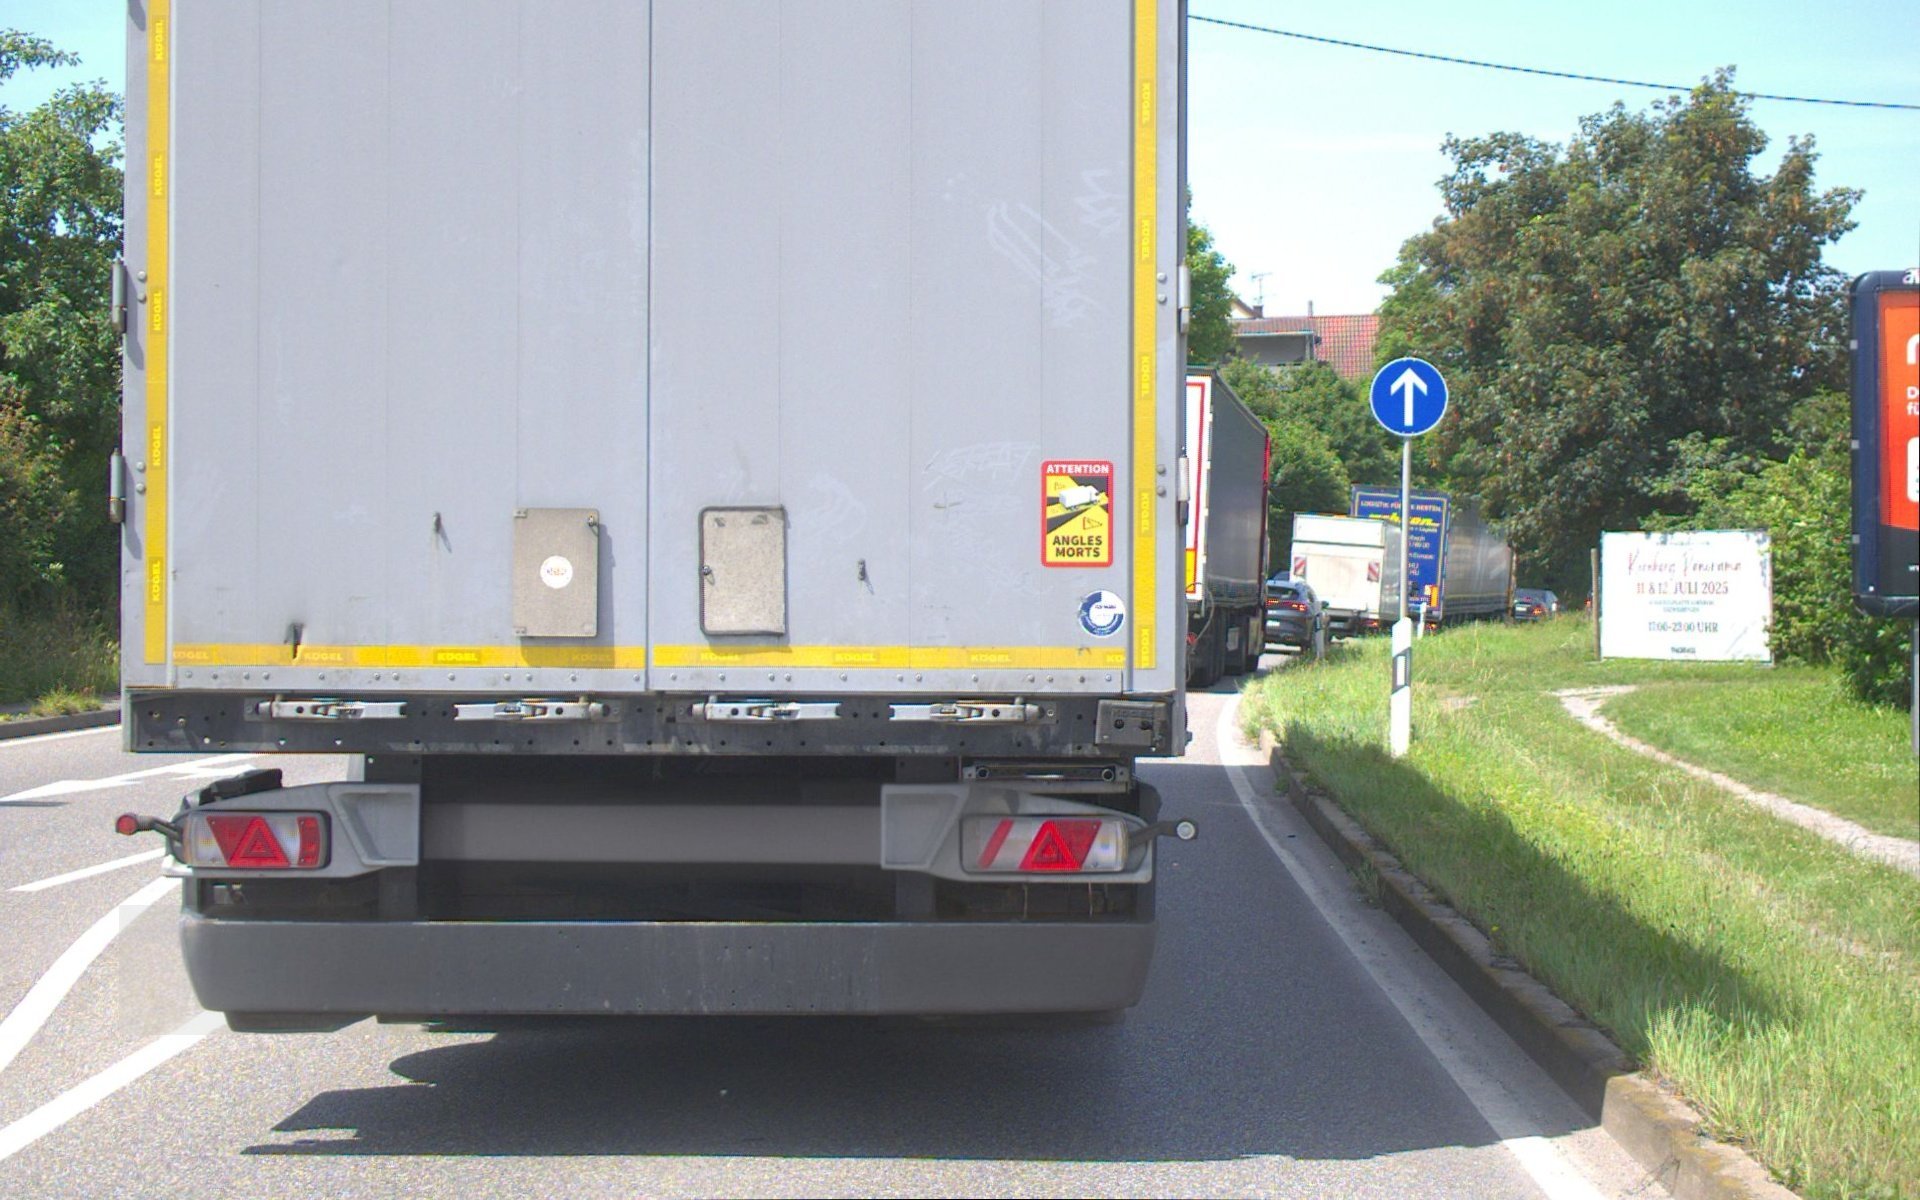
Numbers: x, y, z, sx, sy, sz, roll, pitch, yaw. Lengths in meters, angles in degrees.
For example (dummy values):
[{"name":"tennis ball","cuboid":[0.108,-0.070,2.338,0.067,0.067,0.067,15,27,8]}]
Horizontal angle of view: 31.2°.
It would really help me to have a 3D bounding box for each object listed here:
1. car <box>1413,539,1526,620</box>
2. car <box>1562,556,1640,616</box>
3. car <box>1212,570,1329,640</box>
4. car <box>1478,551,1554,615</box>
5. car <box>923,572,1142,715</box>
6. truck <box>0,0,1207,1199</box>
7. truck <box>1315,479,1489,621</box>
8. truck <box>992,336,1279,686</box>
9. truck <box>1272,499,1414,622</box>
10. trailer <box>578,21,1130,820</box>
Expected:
[{"name":"car","cuboid":[15.111,-0.643,101.724,2.533,2.269,6.376,1,1,15]},{"name":"car","cuboid":[22.248,-0.471,119.243,1.995,2.007,3.996,1,0,20]},{"name":"car","cuboid":[6.511,0.099,71.834,1.994,1.371,3.998,1,0,11]},{"name":"car","cuboid":[18.043,-0.551,111.491,1.995,2.007,3.997,1,0,15]},{"name":"car","cuboid":[0.792,0.413,34.966,1.819,1.342,3.846,1,0,7]},{"name":"truck","cuboid":[-0.677,-0.818,13.574,2.822,4.113,11.443,1,1,2]},{"name":"truck","cuboid":[12.009,-1.390,92.612,3.435,3.592,9.347,1,1,15]},{"name":"truck","cuboid":[2.904,-1.116,50.483,2.761,4.274,16.410,1,0,8]},{"name":"truck","cuboid":[9.152,-0.905,81.589,2.545,2.793,6.028,1,0,14]},{"name":"trailer","cuboid":[-0.433,-0.988,20.963,2.825,4.097,6.544,0,1,2]}]
